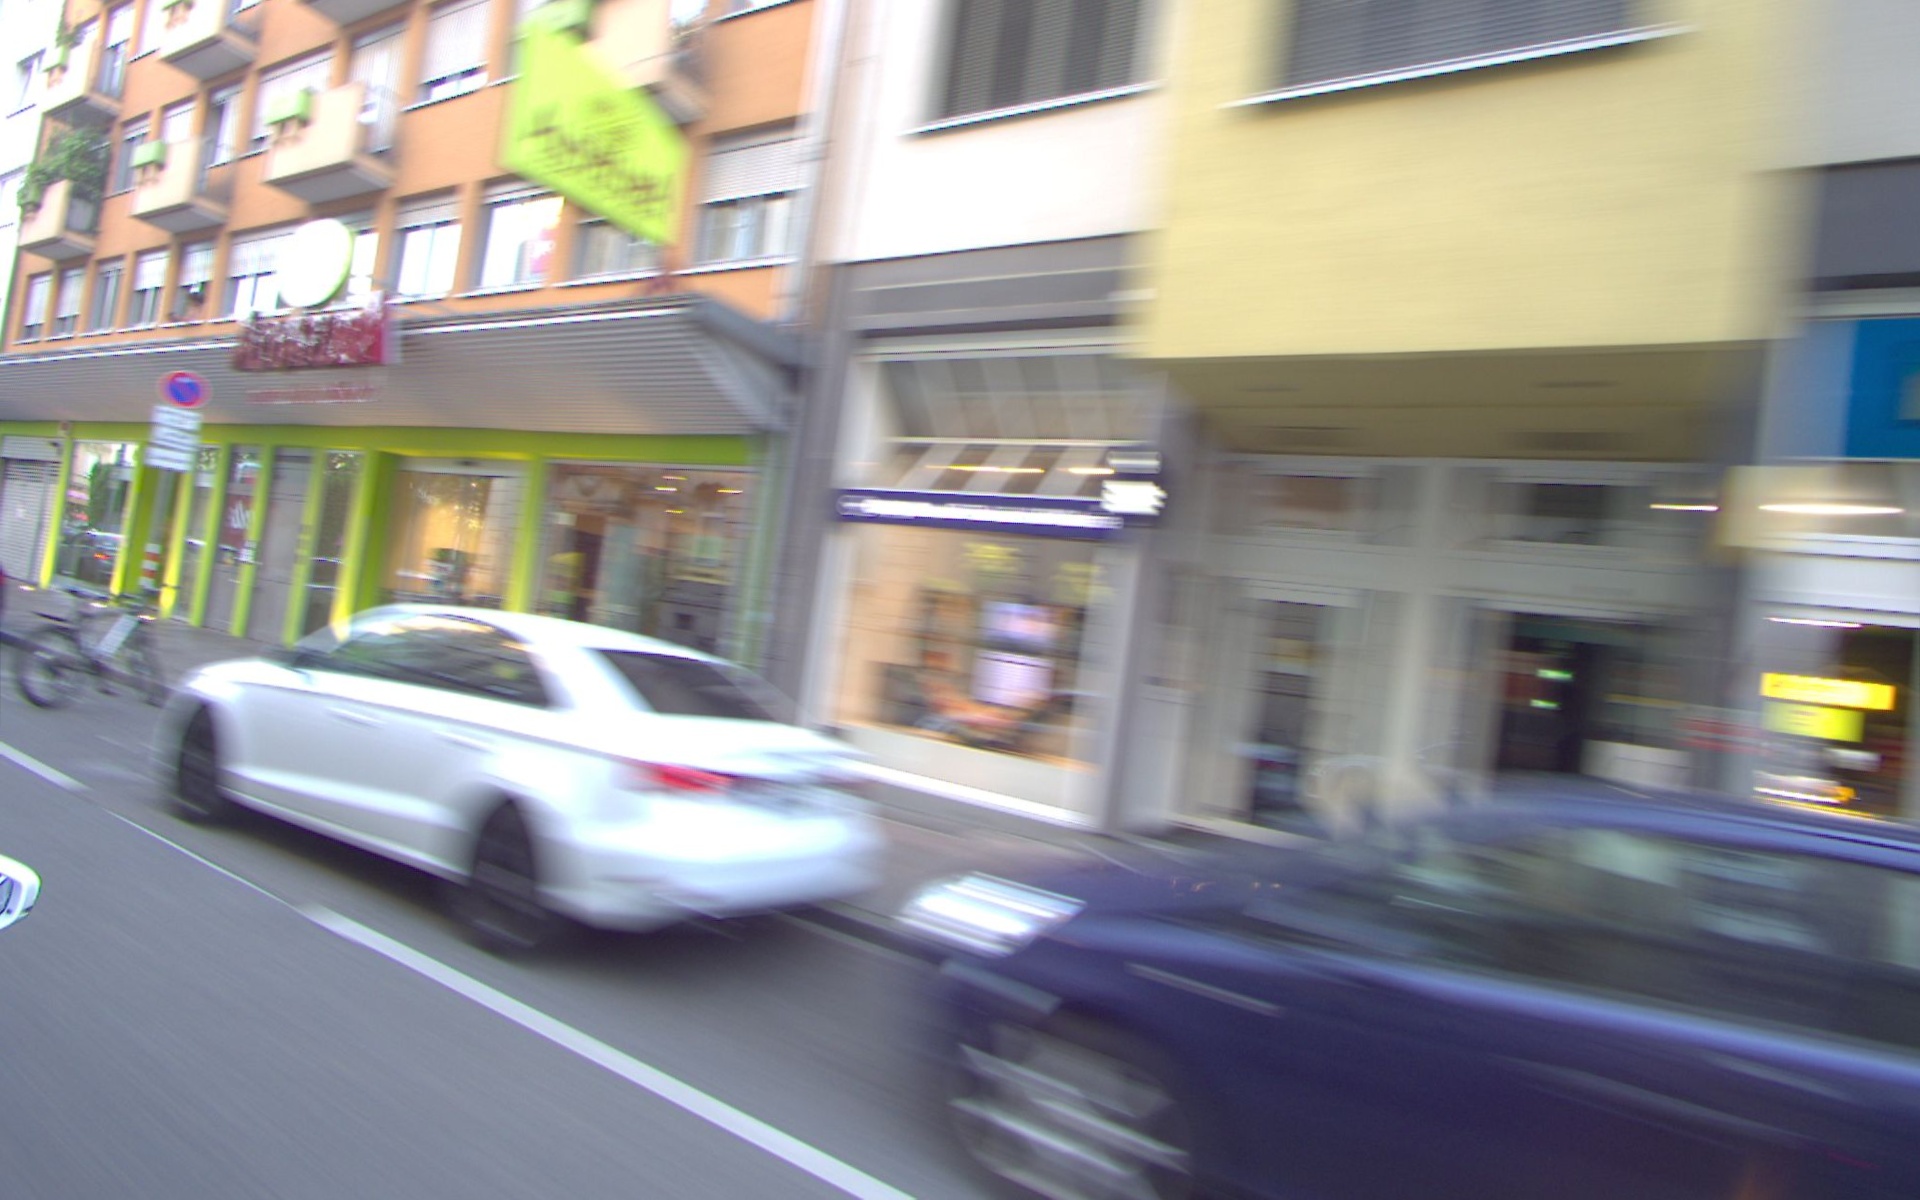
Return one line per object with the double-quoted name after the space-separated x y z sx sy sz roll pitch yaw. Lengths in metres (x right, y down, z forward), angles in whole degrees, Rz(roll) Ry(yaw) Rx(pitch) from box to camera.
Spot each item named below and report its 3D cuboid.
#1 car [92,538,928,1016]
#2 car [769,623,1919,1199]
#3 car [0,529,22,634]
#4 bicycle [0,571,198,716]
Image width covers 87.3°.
-2.645 0.711 5.605 4.559 1.425 1.698 7 -5 29 "car"
1.649 1.177 2.918 4.103 1.531 1.624 7 -5 31 "car"
-13.384 -0.444 12.173 4.678 1.429 1.697 7 -5 33 "car"
-7.614 0.372 8.790 0.649 1.066 1.737 9 -4 -9 "bicycle"
